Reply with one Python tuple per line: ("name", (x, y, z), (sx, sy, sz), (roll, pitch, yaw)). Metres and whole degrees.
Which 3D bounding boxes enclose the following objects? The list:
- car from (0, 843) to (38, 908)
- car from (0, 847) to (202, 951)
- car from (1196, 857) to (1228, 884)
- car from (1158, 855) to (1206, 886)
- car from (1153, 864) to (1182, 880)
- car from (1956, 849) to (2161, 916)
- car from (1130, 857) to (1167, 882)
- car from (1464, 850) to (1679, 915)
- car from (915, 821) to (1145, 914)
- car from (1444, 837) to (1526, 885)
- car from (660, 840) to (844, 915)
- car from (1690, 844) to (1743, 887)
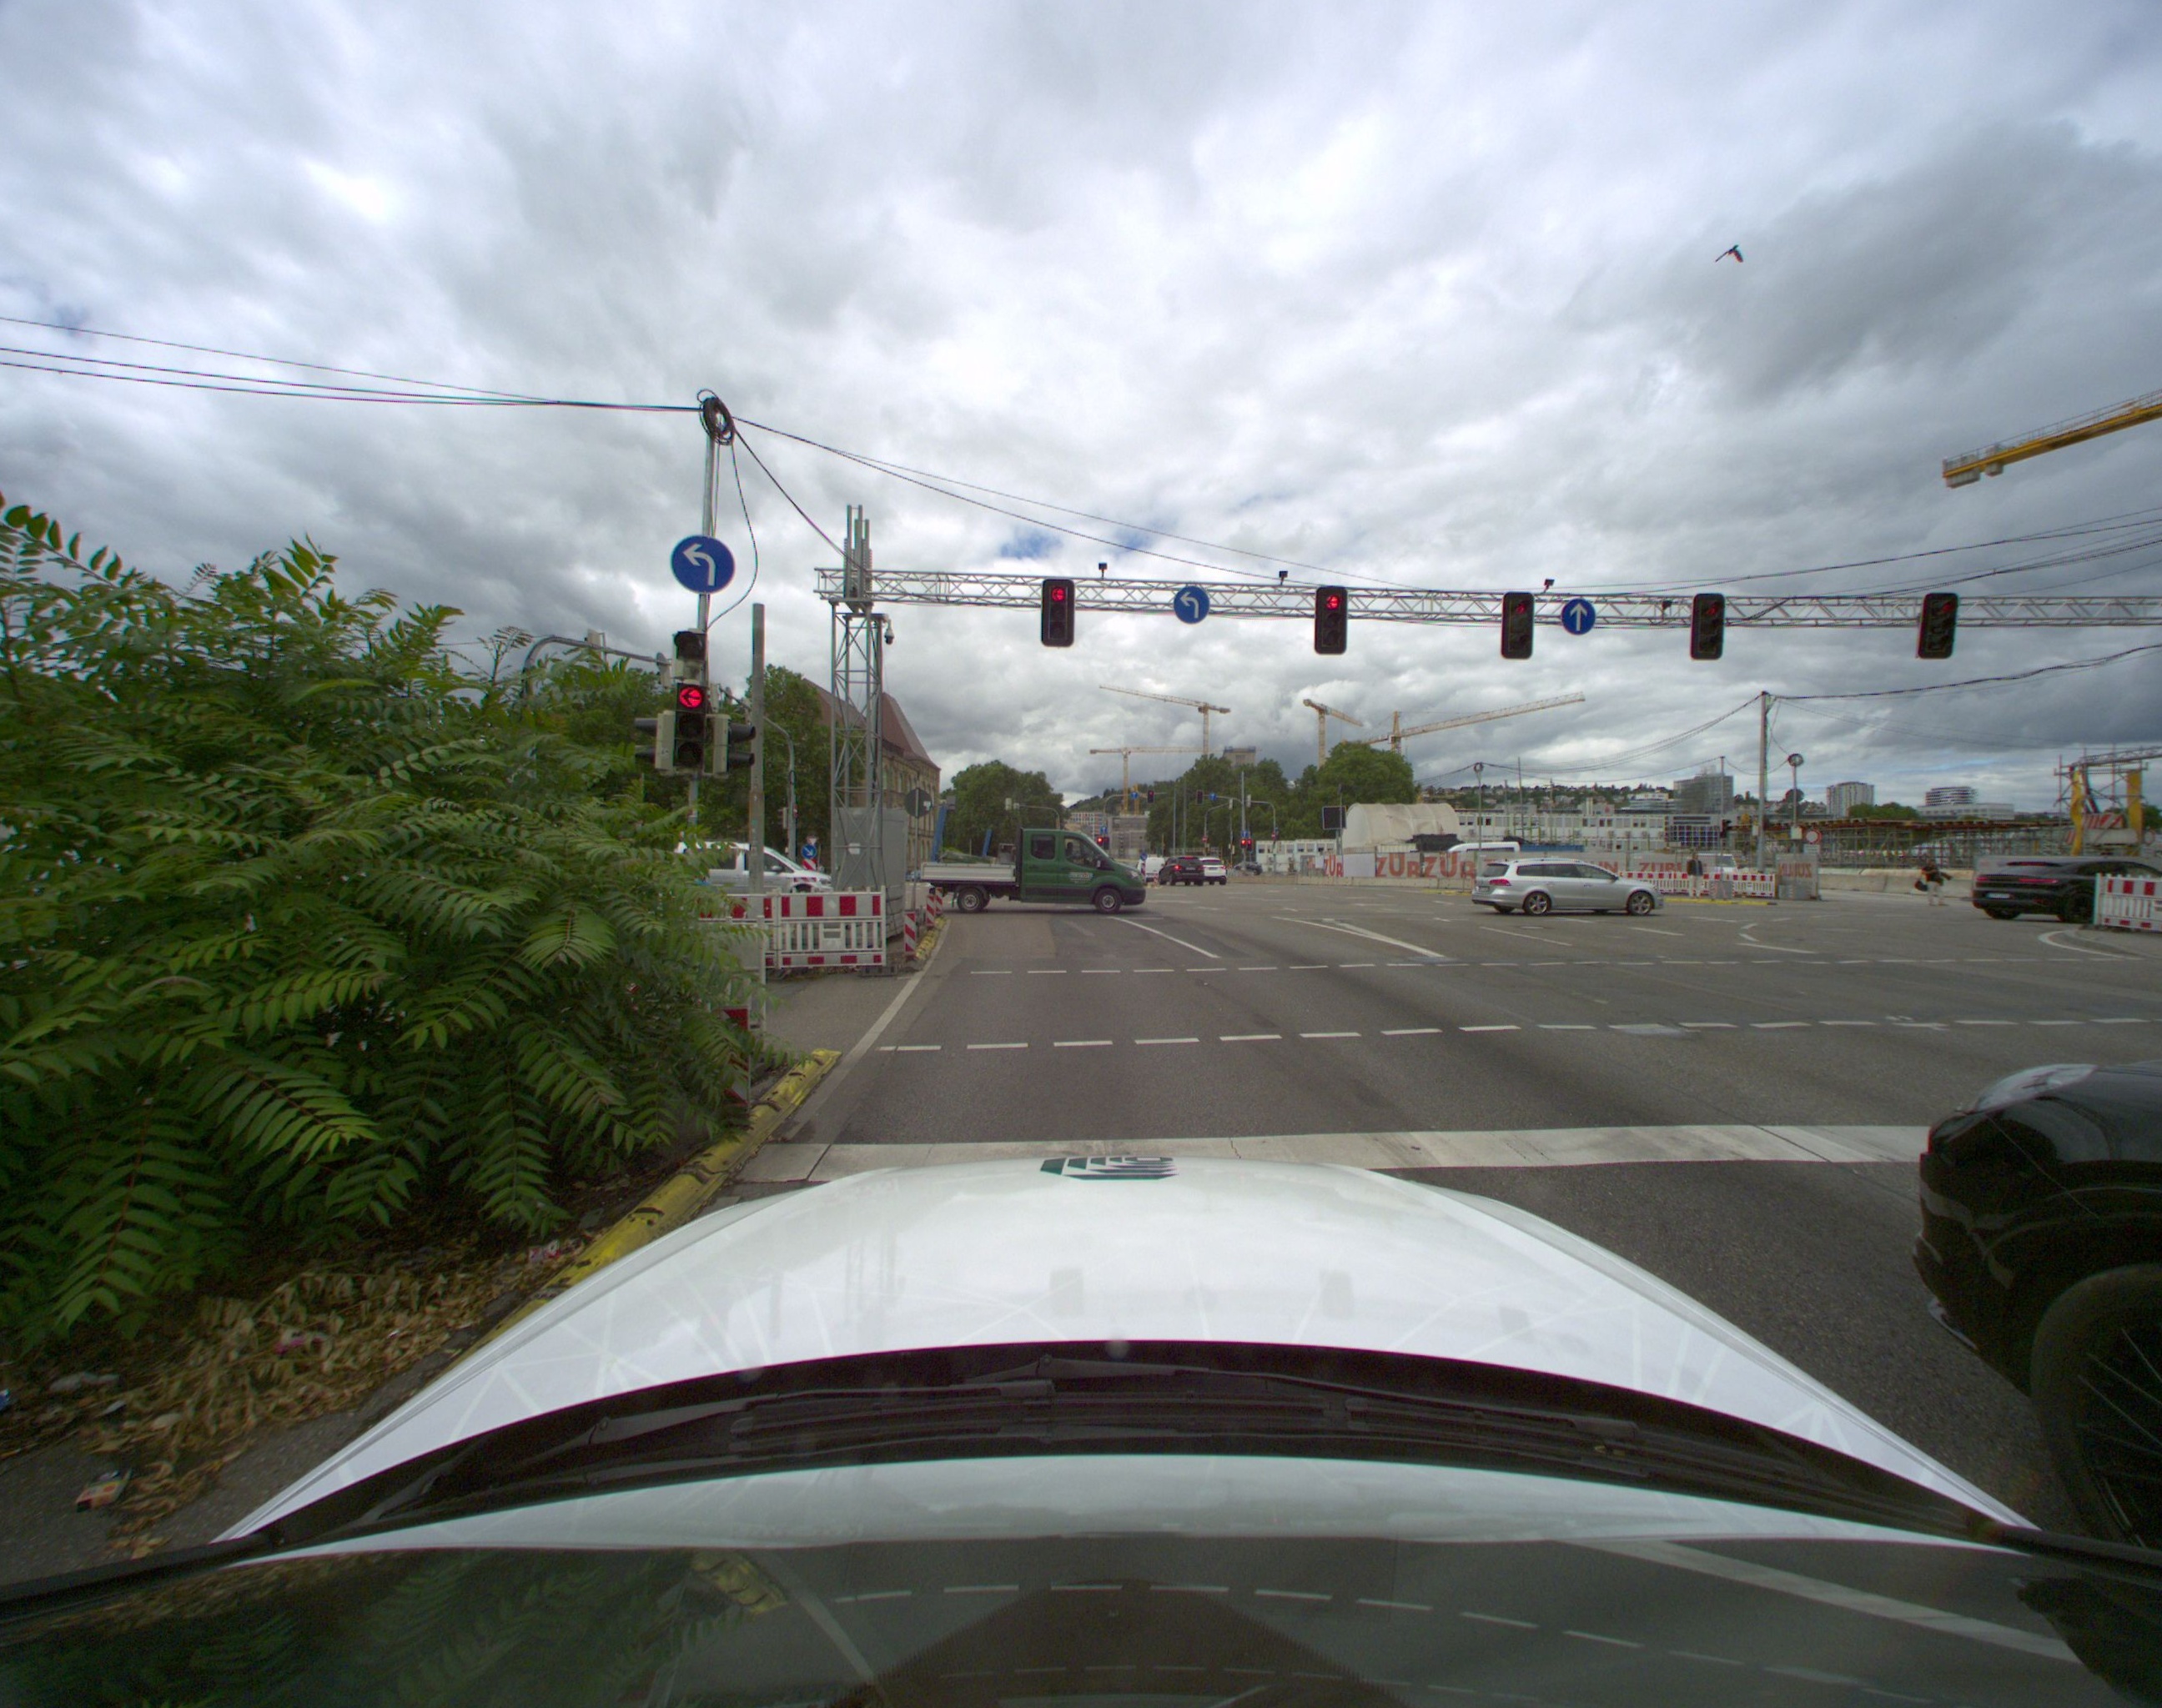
("car", (-28.988, 0.543, 20.104), (4.041, 1.625, 1.829), (0, -1, -1))
("car", (-19.054, 0.755, 15.132), (3.961, 1.745, 1.844), (0, 1, 11))
("car", (8.480, 1.046, 53.004), (1.670, 1.702, 3.375), (0, -1, 2))
("car", (5.961, 0.932, 48.497), (1.830, 1.746, 4.244), (0, -1, -8))
("car", (8.022, 1.666, 75.963), (1.680, 1.398, 3.069), (0, -1, -16))
("car", (25.943, 0.695, 20.851), (4.787, 1.625, 2.022), (0, -1, 3))
("car", (4.569, 1.008, 55.582), (1.814, 1.625, 3.992), (0, -1, -5))
("car", (12.873, 0.727, 21.564), (4.695, 1.625, 1.681), (0, -1, 0))
("car", (-1.308, 0.342, 21.588), (5.745, 2.305, 2.301), (0, -1, -3))
("car", (23.232, 0.415, 46.977), (3.957, 2.662, 1.688), (-1, -1, 15))
("car", (-8.701, 0.604, 21.900), (4.269, 1.882, 1.823), (0, -1, -11))
("car", (30.134, 0.555, 38.703), (1.755, 1.954, 3.146), (-1, -1, 34))
